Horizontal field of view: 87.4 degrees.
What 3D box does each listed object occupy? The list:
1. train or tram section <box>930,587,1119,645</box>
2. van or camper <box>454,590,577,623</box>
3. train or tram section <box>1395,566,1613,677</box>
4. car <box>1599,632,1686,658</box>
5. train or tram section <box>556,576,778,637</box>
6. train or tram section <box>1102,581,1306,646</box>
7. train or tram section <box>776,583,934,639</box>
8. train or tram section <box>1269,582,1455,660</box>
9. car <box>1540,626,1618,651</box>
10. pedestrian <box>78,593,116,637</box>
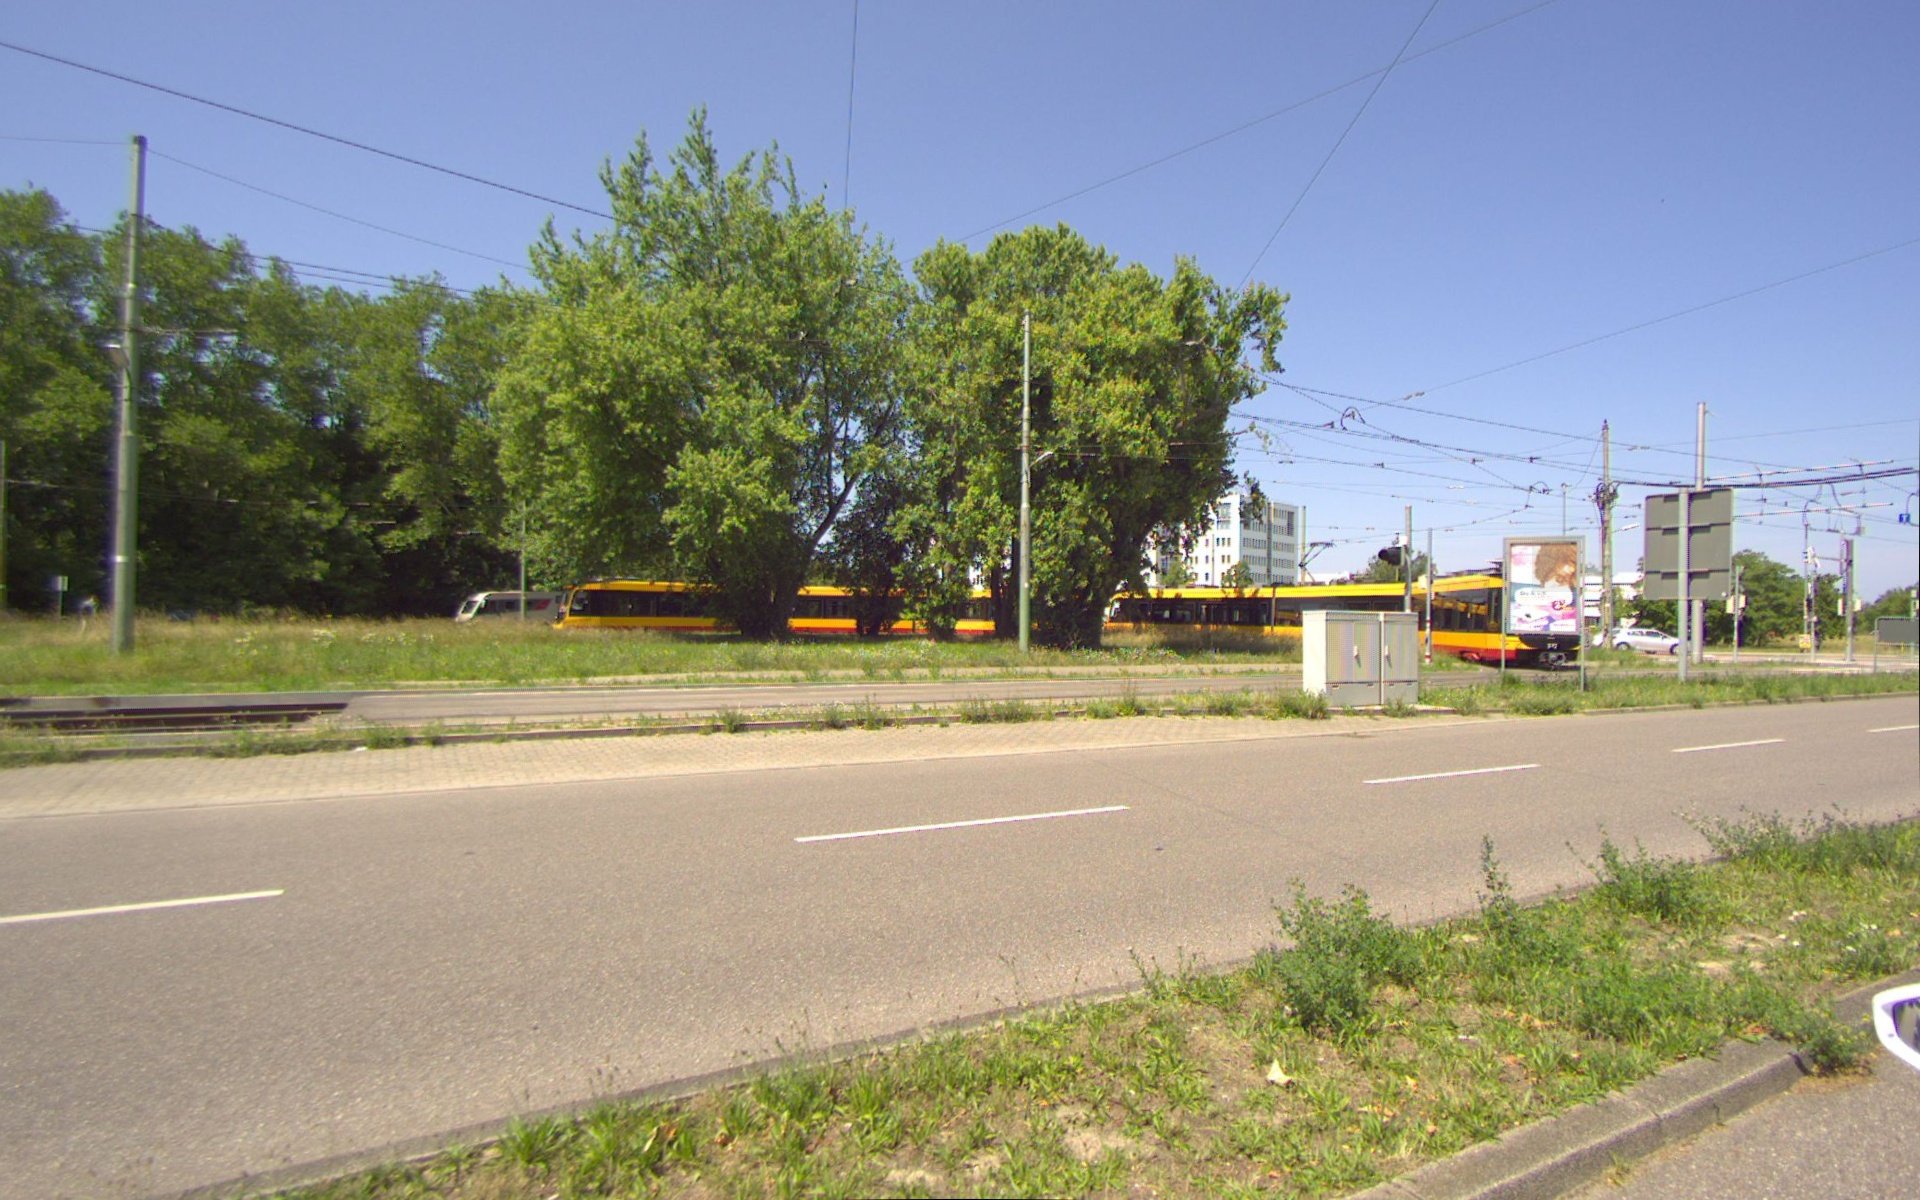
[{"bbox_3d":[4.398,1.039,68.274,12.492,3.512,3.048,2,1,6],"label":"train or tram section"},{"bbox_3d":[-29.419,0.482,66.772,1.971,2.040,7.318,2,1,42],"label":"van or camper"},{"bbox_3d":[20.528,0.684,39.264,2.984,3.512,13.299,2,0,8],"label":"train or tram section"},{"bbox_3d":[40.787,2.662,60.130,4.206,1.311,1.995,1,0,32],"label":"car"},{"bbox_3d":[-18.174,0.472,63.161,13.124,3.512,3.018,1,1,-33],"label":"train or tram section"},{"bbox_3d":[14.521,0.678,61.353,3.023,3.512,12.594,1,1,-41],"label":"train or tram section"},{"bbox_3d":[-6.988,0.745,67.412,10.072,3.512,3.031,2,1,-21],"label":"train or tram section"},{"bbox_3d":[20.035,0.917,51.134,2.997,3.512,10.185,1,1,-17],"label":"train or tram section"},{"bbox_3d":[39.839,2.473,64.762,4.205,1.431,1.895,1,0,30],"label":"car"},{"bbox_3d":[-31.910,0.557,37.150,0.677,1.595,0.791,2,1,14],"label":"pedestrian"}]
